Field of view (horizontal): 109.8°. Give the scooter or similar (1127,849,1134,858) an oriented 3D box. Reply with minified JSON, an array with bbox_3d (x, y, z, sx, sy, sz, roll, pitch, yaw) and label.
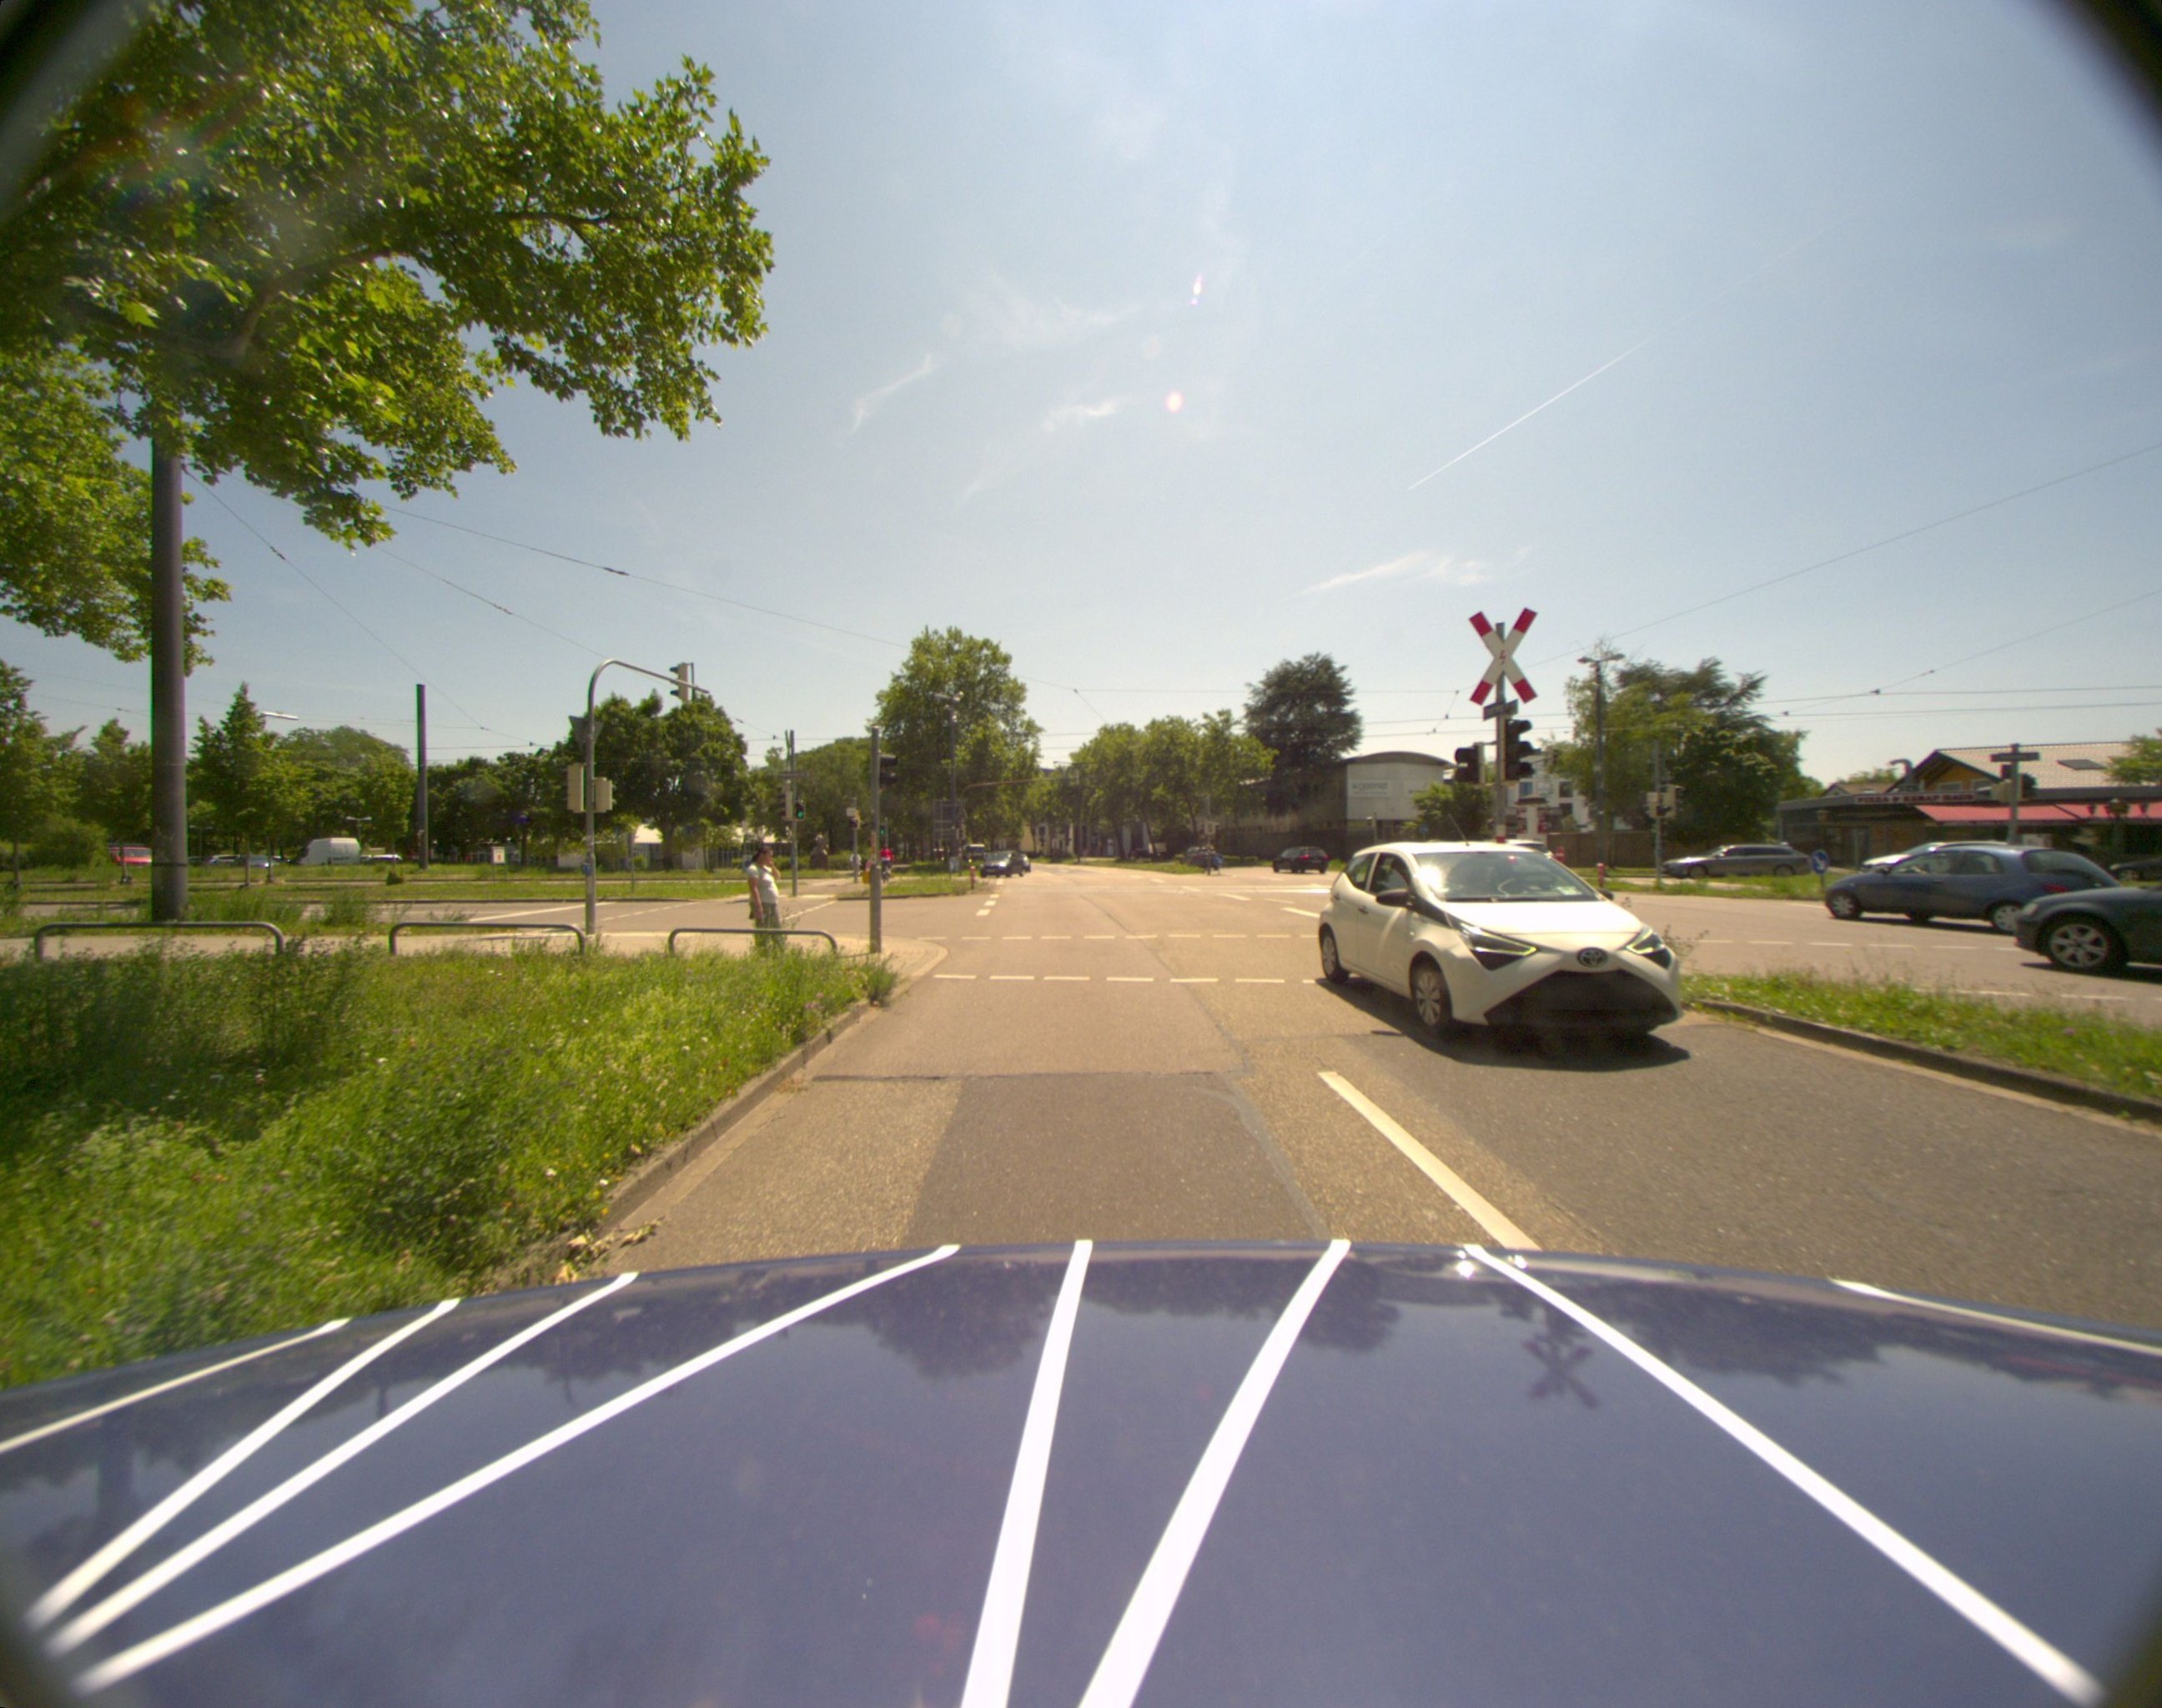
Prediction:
[{"bbox_3d":[6.889,-0.079,105.494,0.681,1.157,0.858,-1,1,-18],"label":"scooter or similar"}]

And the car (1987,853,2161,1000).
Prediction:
[{"bbox_3d":[11.258,0.737,6.580,1.740,1.387,4.177,1,1,-1],"label":"car"}]

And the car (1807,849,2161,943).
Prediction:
[{"bbox_3d":[15.006,0.608,12.972,1.810,1.354,3.551,0,1,-1],"label":"car"}]

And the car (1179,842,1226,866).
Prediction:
[{"bbox_3d":[8.236,-0.027,51.823,1.915,1.530,4.294,-1,1,-9],"label":"car"}]

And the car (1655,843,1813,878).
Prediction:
[{"bbox_3d":[27.220,0.267,31.867,4.660,1.372,1.890,0,1,21],"label":"car"}]

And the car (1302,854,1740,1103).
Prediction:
[{"bbox_3d":[3.282,0.780,6.562,1.623,1.437,3.651,-2,1,0],"label":"car"}]

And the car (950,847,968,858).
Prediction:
[{"bbox_3d":[-18.160,-0.232,113.163,2.002,1.609,3.993,-1,1,-18],"label":"car"}]

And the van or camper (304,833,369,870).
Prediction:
[{"bbox_3d":[-58.219,-0.198,59.378,5.116,2.735,2.207,0,1,29],"label":"van or camper"}]

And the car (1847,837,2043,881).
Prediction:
[{"bbox_3d":[32.957,0.187,29.205,4.451,1.595,2.220,0,1,21],"label":"car"}]

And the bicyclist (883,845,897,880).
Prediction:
[{"bbox_3d":[-8.562,0.379,34.016,0.580,1.547,0.672,-1,1,-14],"label":"bicyclist"}]

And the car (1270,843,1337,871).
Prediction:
[{"bbox_3d":[12.373,0.116,42.540,1.955,1.432,4.742,-1,1,-6],"label":"car"}]

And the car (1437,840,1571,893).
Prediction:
[{"bbox_3d":[14.042,0.372,25.584,1.792,1.605,4.401,0,1,-5],"label":"car"}]

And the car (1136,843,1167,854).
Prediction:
[{"bbox_3d":[11.217,-0.937,121.344,4.447,1.669,1.914,-1,1,-20],"label":"car"}]

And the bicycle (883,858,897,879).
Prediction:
[{"bbox_3d":[-8.552,0.658,33.984,0.589,0.890,1.809,0,1,-14],"label":"bicycle"}]

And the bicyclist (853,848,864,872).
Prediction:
[{"bbox_3d":[-12.627,0.331,43.142,0.601,1.331,0.665,-1,1,-17],"label":"bicyclist"}]

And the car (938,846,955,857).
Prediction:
[{"bbox_3d":[-21.581,-0.434,122.093,2.002,1.827,3.992,-1,1,-21],"label":"car"}]

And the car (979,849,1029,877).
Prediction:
[{"bbox_3d":[-4.224,0.479,42.244,1.652,1.454,3.868,0,1,12],"label":"car"}]

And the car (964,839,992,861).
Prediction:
[{"bbox_3d":[-13.379,-0.537,98.359,2.921,2.639,6.358,-1,1,-13],"label":"car"}]

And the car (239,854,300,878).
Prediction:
[{"bbox_3d":[-58.493,0.849,54.766,4.060,1.708,1.960,0,1,28],"label":"car"}]

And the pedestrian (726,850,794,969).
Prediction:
[{"bbox_3d":[-4.097,0.691,9.736,0.554,1.475,0.630,0,1,5],"label":"pedestrian"}]

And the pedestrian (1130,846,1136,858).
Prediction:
[{"bbox_3d":[7.160,-0.277,104.690,0.644,1.551,0.790,-1,1,-18],"label":"pedestrian"}]

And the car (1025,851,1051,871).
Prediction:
[{"bbox_3d":[-3.087,0.497,54.936,1.791,1.325,3.741,-1,1,-2],"label":"car"}]

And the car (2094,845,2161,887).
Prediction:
[{"bbox_3d":[42.795,0.461,29.049,1.784,1.641,4.566,0,0,-8],"label":"car"}]

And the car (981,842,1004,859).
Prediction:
[{"bbox_3d":[-9.671,-0.393,82.921,2.001,1.783,3.994,-1,1,-14],"label":"car"}]

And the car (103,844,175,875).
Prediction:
[{"bbox_3d":[-62.715,0.334,50.601,4.651,1.991,2.078,0,1,27],"label":"car"}]

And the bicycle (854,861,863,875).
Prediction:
[{"bbox_3d":[-12.638,0.782,43.155,0.465,0.760,1.665,0,1,-17],"label":"bicycle"}]
